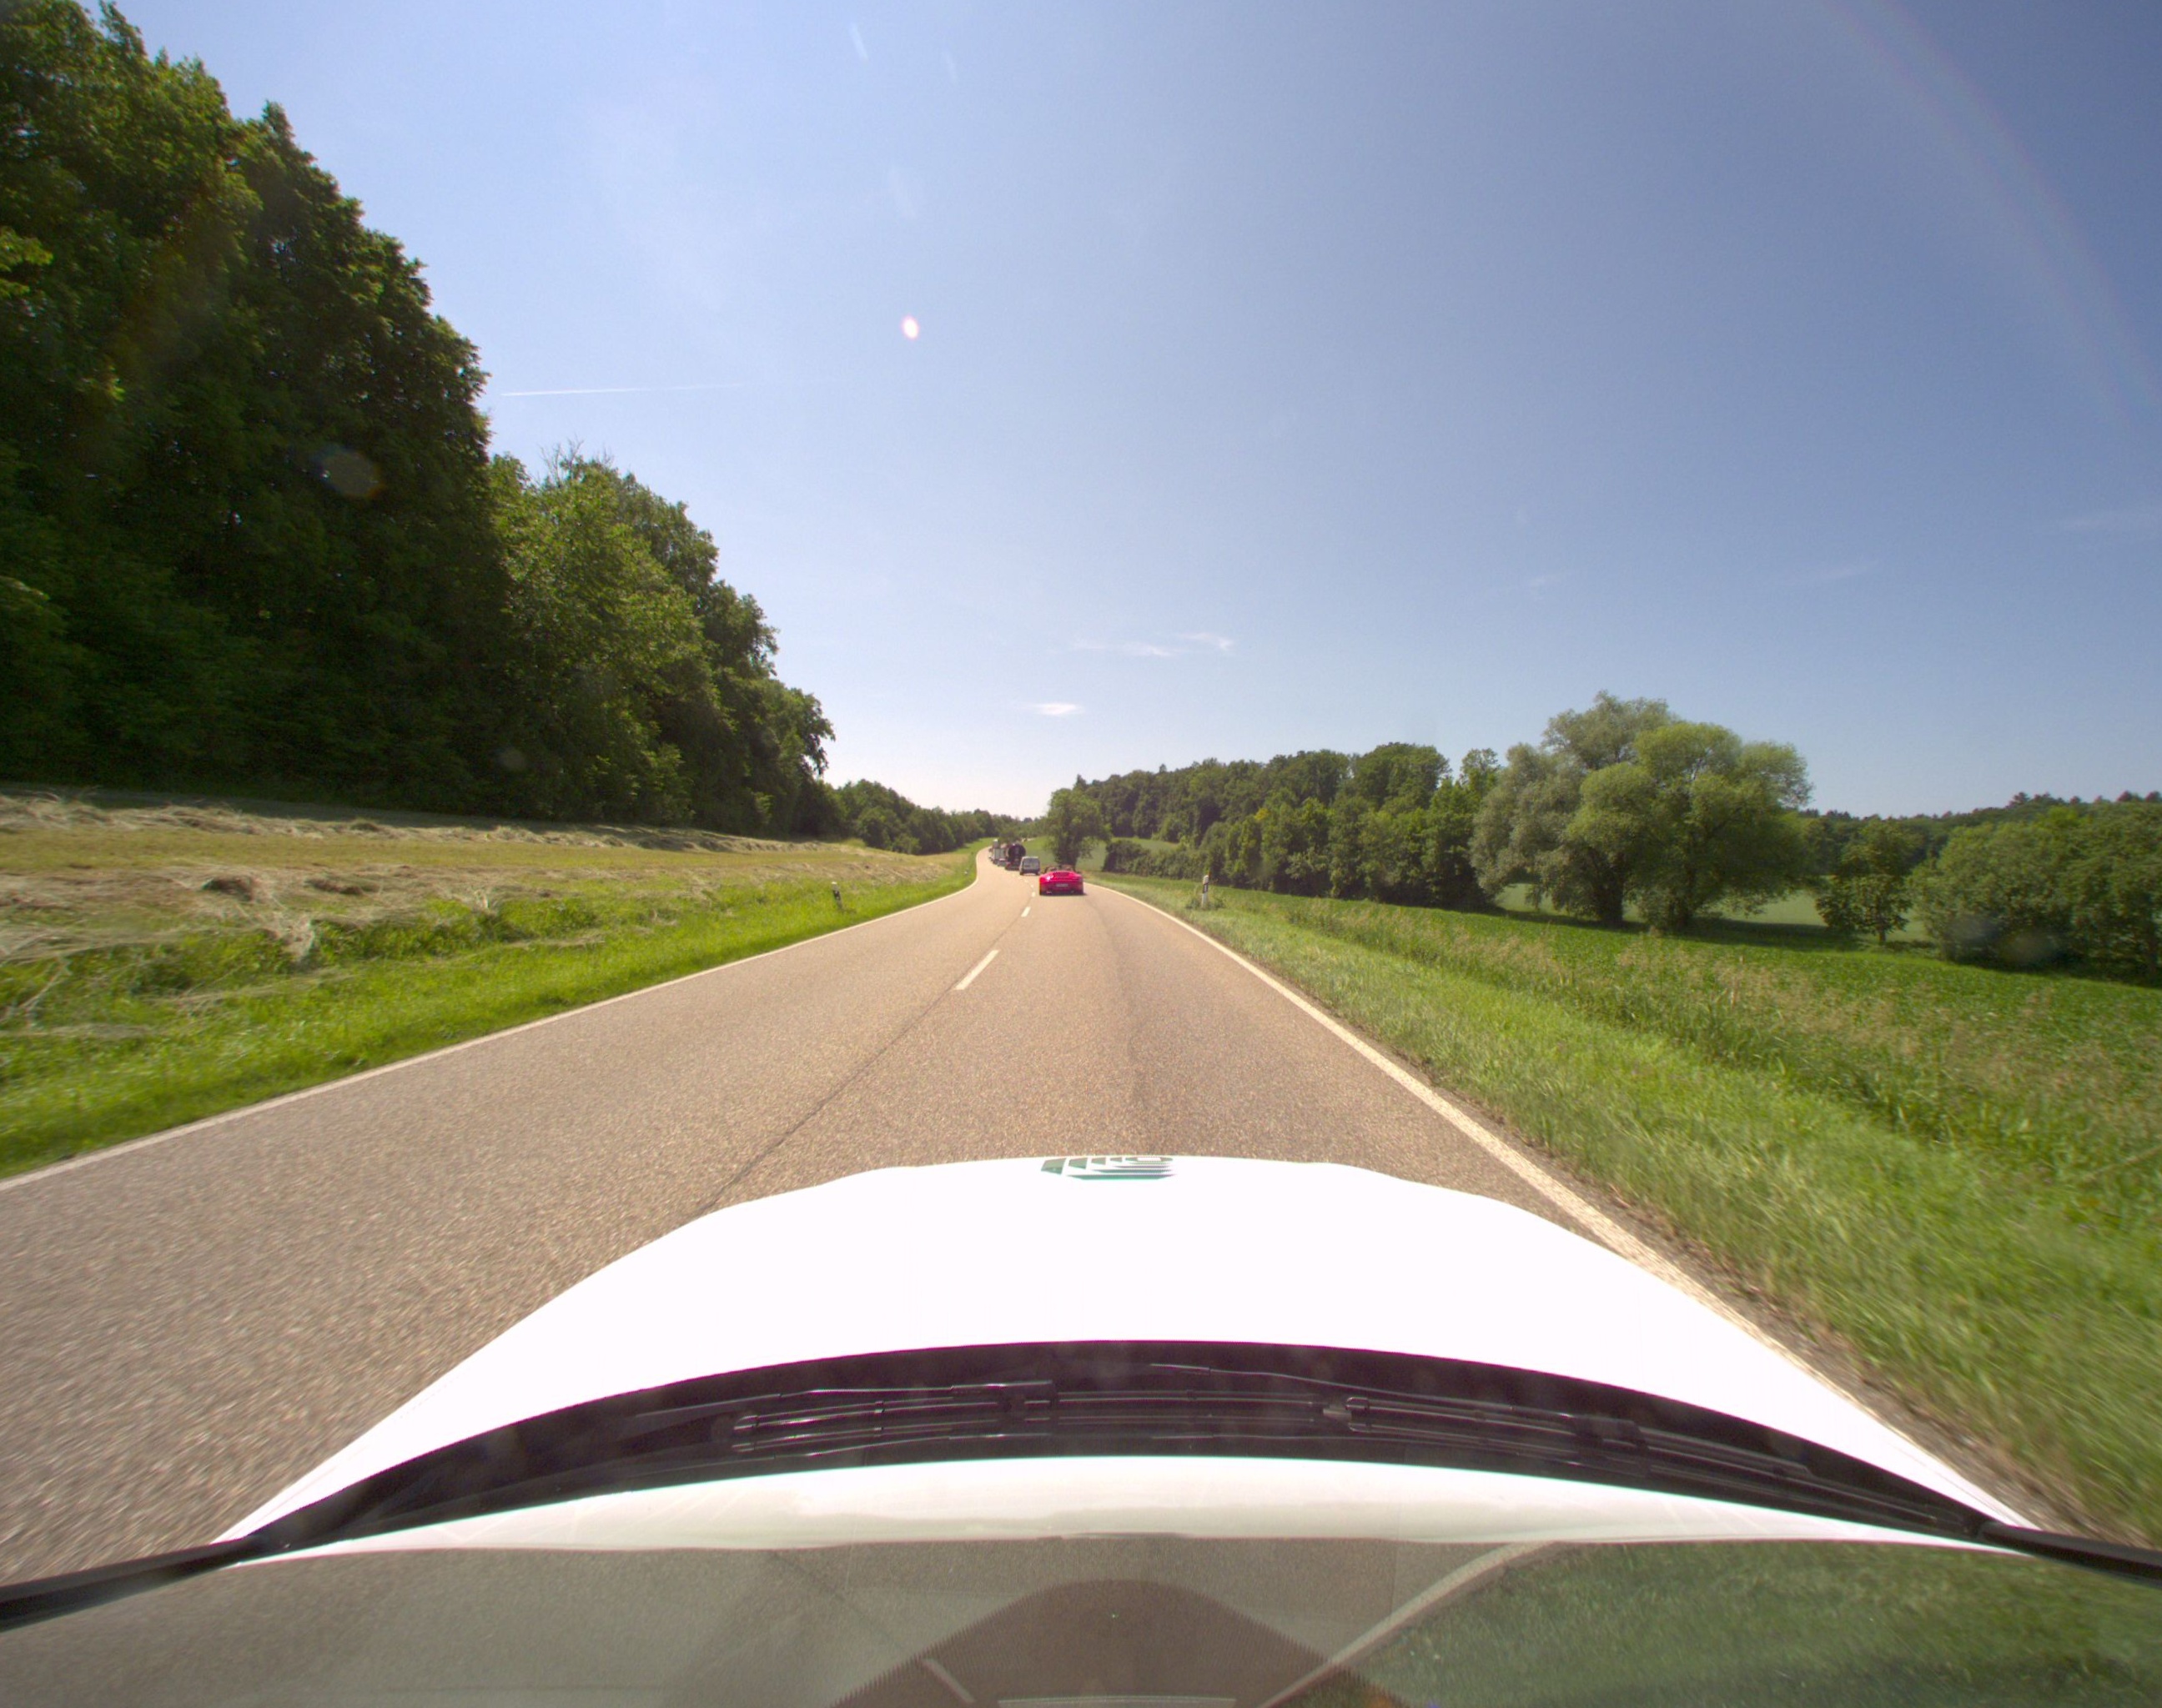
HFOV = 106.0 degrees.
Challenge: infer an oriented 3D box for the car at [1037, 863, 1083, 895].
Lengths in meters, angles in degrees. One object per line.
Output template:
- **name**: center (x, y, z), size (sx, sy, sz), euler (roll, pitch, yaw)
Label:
- **car**: center (-0.878, 1.045, 35.362), size (1.877, 1.255, 4.008), euler (-1, 0, -1)

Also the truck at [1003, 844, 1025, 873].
- **truck**: center (-9.933, 0.550, 120.056), size (2.403, 4.049, 12.513), euler (0, 0, -8)

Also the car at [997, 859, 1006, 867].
- **car**: center (-16.174, 1.828, 166.160), size (1.721, 1.585, 4.149), euler (0, 0, -8)

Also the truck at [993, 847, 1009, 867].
- **truck**: center (-20.223, 0.641, 205.799), size (3.723, 4.659, 12.001), euler (0, 2, -8)

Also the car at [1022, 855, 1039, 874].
- **car**: center (-5.219, 1.039, 83.303), size (1.676, 1.901, 4.003), euler (-1, 0, -5)
